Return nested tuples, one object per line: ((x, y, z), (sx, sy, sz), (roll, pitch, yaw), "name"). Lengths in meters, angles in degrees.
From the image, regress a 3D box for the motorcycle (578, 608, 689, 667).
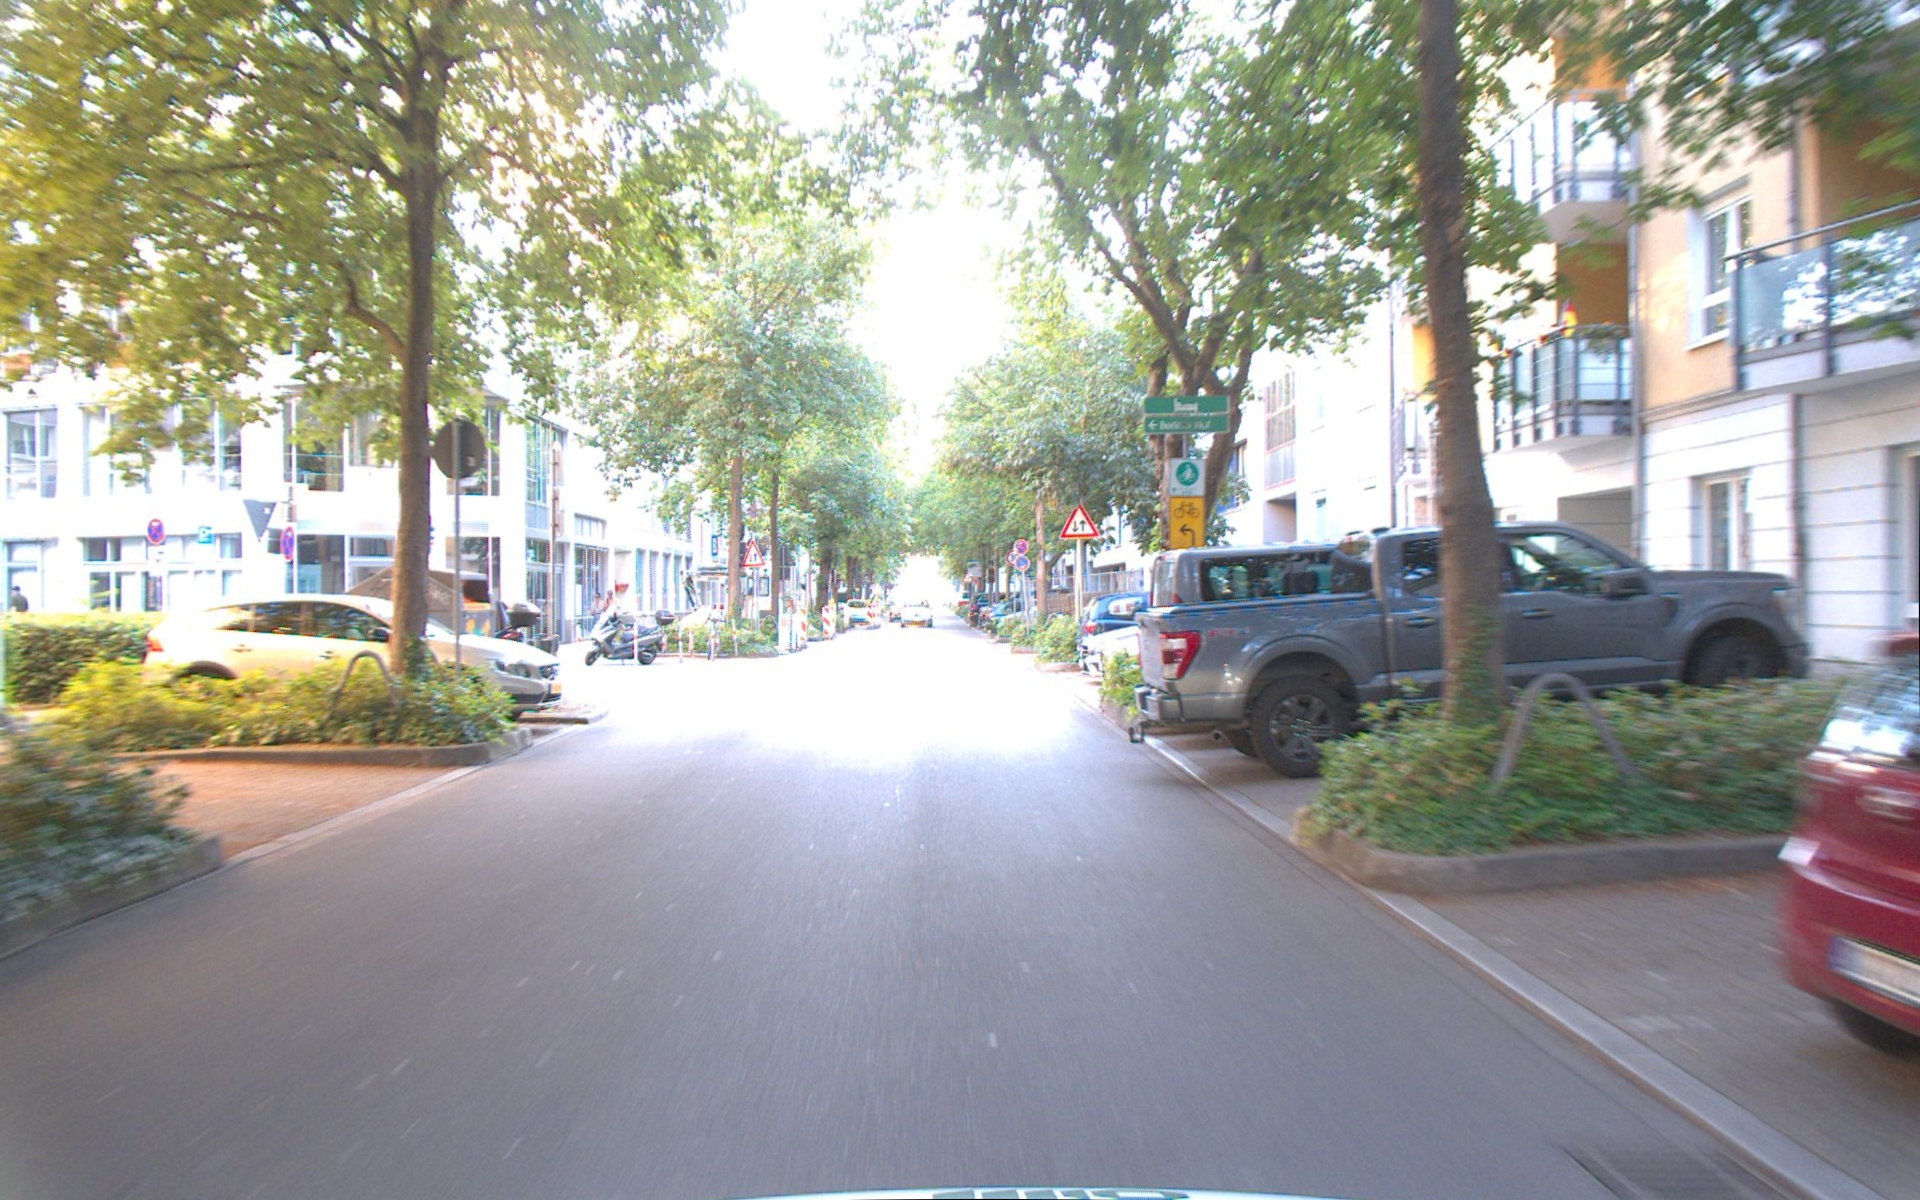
((-7.631, 0.852, 38.740), (2.336, 1.304, 1.051), (-1, 1, -42), "motorcycle")

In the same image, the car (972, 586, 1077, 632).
((2.899, 0.396, 74.931), (4.643, 2.049, 1.999), (1, 0, -2), "car")

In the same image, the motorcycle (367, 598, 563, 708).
((-6.761, 0.713, 22.679), (2.402, 1.445, 0.911), (-1, 0, 1), "motorcycle")

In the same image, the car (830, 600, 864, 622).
((-6.966, 0.658, 101.709), (1.955, 1.310, 3.996), (-1, 0, -5), "car")

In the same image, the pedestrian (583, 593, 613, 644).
((-11.212, 0.576, 51.236), (0.754, 1.562, 0.642), (-1, 0, -1), "pedestrian")

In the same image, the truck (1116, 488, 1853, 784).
((4.374, 0.286, 14.535), (5.768, 2.351, 2.212), (-1, 0, -1), "truck")

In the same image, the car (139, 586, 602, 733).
((-6.597, 0.647, 18.901), (4.523, 1.579, 2.075), (0, 0, 1), "car")

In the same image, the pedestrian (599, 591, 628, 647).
((-10.671, 0.589, 50.956), (0.724, 1.720, 0.607), (-1, 0, 0), "pedestrian")

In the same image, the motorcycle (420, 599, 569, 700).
((-6.976, 0.726, 24.749), (2.205, 1.445, 0.851), (-1, 0, 30), "motorcycle")

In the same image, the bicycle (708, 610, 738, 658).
((-6.074, 0.863, 42.429), (0.670, 1.173, 1.978), (-1, 0, -6), "bicycle")

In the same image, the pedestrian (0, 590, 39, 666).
((-23.813, 0.696, 41.708), (0.882, 1.883, 0.863), (-1, 0, -40), "pedestrian")

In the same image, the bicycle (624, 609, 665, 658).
((-8.067, 0.844, 42.362), (0.669, 1.173, 1.981), (-1, 0, 0), "bicycle")

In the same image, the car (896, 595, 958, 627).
((-1.797, 0.598, 91.552), (1.969, 1.641, 4.119), (-1, 1, 23), "car")

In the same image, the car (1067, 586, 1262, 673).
((3.852, 0.549, 31.601), (3.467, 1.591, 1.831), (-1, 0, -2), "car")

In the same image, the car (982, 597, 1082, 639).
((2.852, 0.693, 65.912), (3.905, 1.613, 2.000), (-1, 0, 0), "car")

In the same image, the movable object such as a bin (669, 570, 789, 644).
((-7.908, 0.227, 56.921), (3.969, 2.425, 2.780), (-1, 0, -7), "movable object such as a bin")

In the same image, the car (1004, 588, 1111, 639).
((3.605, 0.484, 61.352), (3.904, 1.836, 2.001), (-1, 0, 2), "car")

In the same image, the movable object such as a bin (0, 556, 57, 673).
((-24.928, 0.366, 40.039), (5.513, 2.739, 2.285), (-1, 0, 20), "movable object such as a bin")

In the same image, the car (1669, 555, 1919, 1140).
((4.398, 0.565, 4.915), (3.701, 1.571, 1.876), (-4, 0, -3), "car")

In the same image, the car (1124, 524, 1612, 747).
((4.116, 0.338, 17.272), (4.508, 2.102, 2.196), (-1, 0, -2), "car")

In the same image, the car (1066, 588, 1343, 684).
((4.206, 0.601, 28.949), (4.528, 1.599, 2.010), (0, 0, -2), "car")

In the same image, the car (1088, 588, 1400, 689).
((4.472, 0.598, 26.561), (4.684, 1.547, 1.991), (0, 0, 0), "car")
